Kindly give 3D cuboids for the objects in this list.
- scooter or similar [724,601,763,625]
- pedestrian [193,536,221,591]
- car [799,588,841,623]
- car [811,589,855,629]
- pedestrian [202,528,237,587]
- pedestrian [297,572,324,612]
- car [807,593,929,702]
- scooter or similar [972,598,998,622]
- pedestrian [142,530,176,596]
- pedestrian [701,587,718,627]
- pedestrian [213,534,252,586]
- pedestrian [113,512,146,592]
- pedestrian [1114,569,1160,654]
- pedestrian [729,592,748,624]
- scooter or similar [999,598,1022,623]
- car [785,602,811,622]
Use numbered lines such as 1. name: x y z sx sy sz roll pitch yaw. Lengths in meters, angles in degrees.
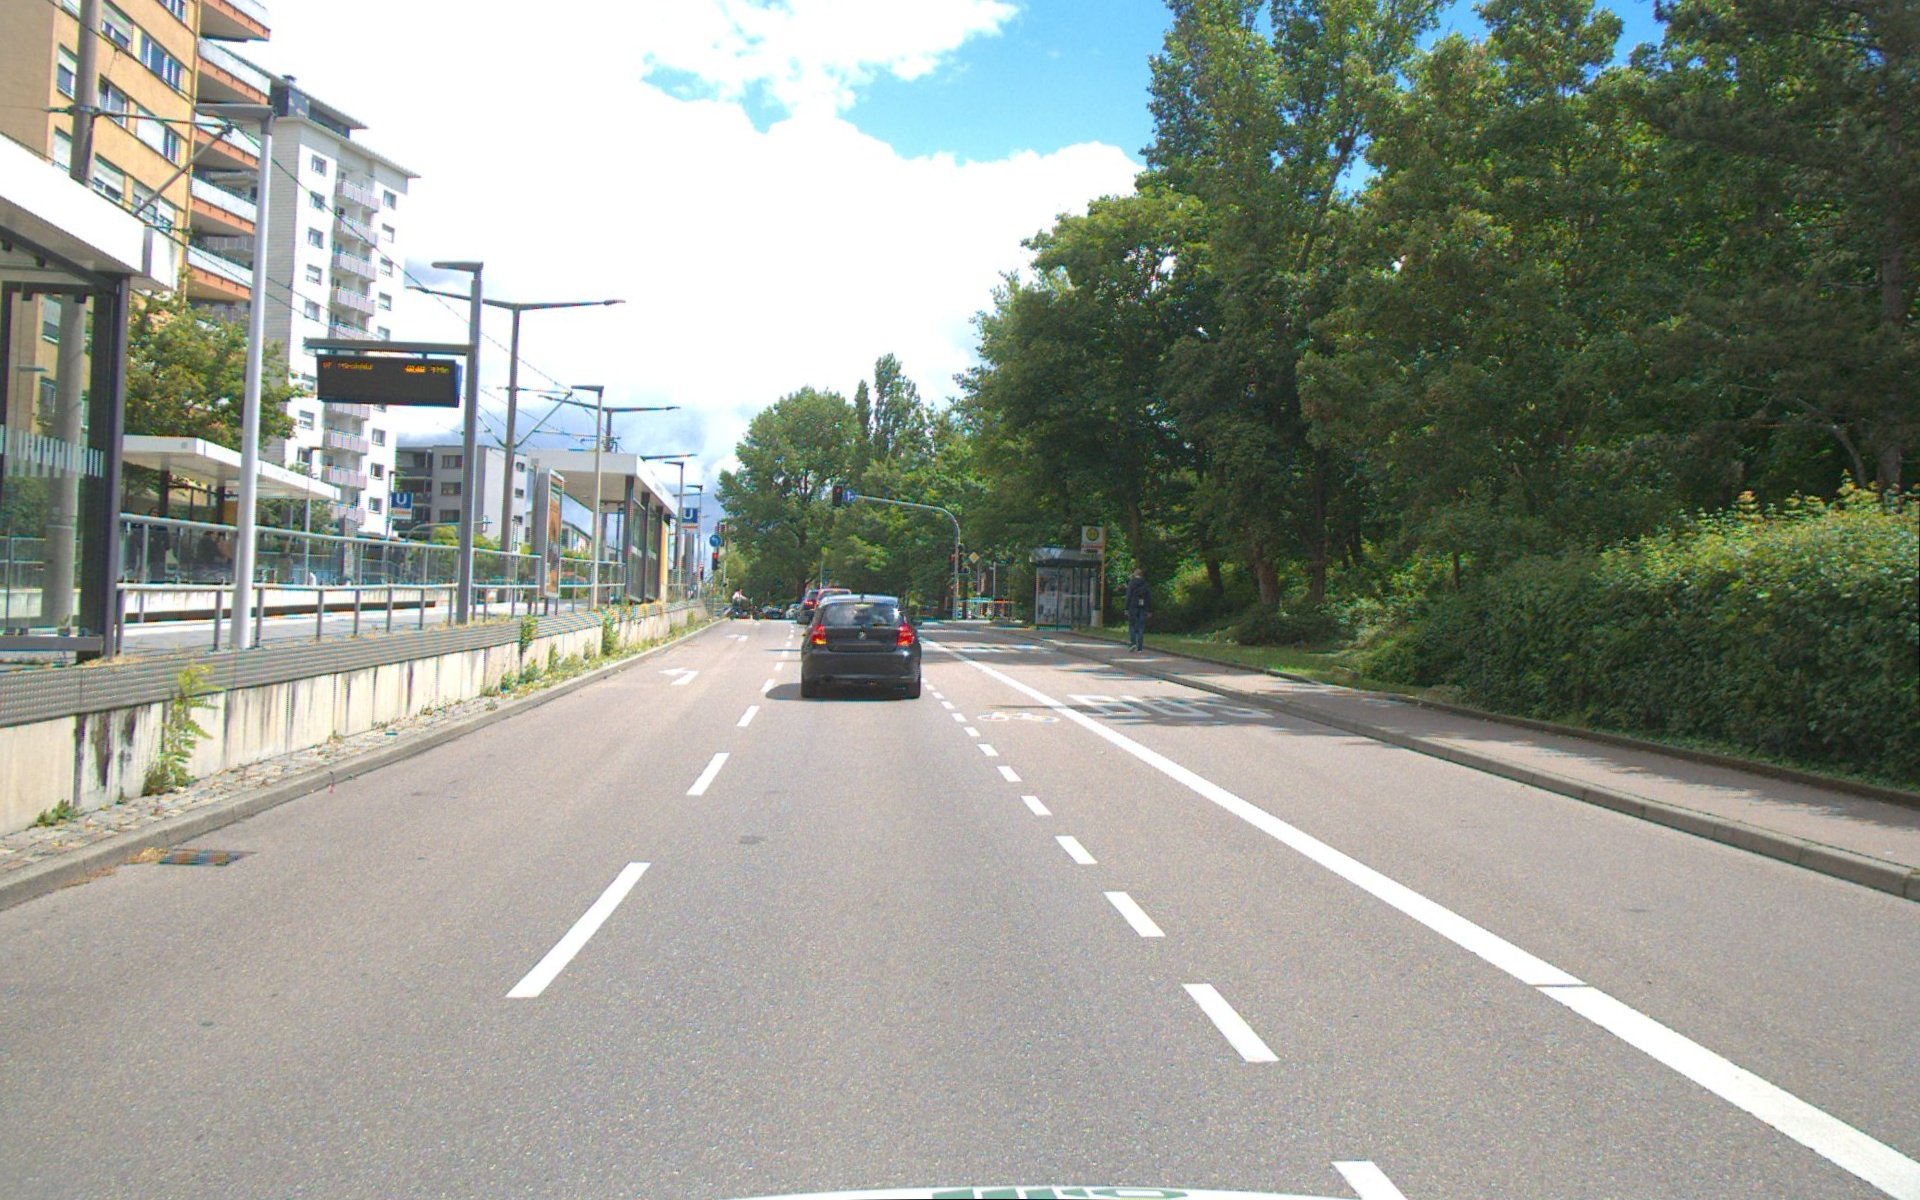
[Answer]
1. scooter or similar: -10.191 0.614 77.768 1.754 1.069 0.408 1 0 -21
2. pedestrian: -17.607 -0.846 38.665 0.511 1.258 0.541 1 0 -17
3. car: -5.961 0.233 70.243 1.623 1.443 3.511 1 0 -7
4. car: -4.749 0.321 61.881 1.563 1.443 3.513 1 0 -5
5. pedestrian: -17.763 -1.004 39.684 0.631 1.393 0.506 1 0 -5
6. pedestrian: -28.150 -0.357 71.653 0.839 1.726 0.690 1 0 6
7. car: -1.341 0.637 24.047 1.622 1.443 3.514 1 0 -4
8. scooter or similar: 1.276 0.526 83.783 1.269 1.210 0.382 1 0 -21
9. pedestrian: -17.463 -0.807 36.079 0.532 1.404 0.519 1 -3 -14
10. pedestrian: -10.707 0.299 70.628 0.687 1.661 0.637 0 0 -6
11. pedestrian: -17.827 -0.971 40.553 0.728 1.258 0.517 1 0 -5
12. pedestrian: -17.650 -1.021 35.162 0.516 1.673 0.557 1 0 -38
13. pedestrian: 4.137 0.261 38.674 0.785 1.928 1.269 2 0 -4
14. pedestrian: -10.499 0.379 78.236 0.849 1.468 0.797 1 0 -10
15. scooter or similar: 2.578 0.546 84.673 1.089 1.280 0.330 1 0 -18
16. car: -12.087 0.914 123.349 1.621 1.443 3.516 0 0 -1
